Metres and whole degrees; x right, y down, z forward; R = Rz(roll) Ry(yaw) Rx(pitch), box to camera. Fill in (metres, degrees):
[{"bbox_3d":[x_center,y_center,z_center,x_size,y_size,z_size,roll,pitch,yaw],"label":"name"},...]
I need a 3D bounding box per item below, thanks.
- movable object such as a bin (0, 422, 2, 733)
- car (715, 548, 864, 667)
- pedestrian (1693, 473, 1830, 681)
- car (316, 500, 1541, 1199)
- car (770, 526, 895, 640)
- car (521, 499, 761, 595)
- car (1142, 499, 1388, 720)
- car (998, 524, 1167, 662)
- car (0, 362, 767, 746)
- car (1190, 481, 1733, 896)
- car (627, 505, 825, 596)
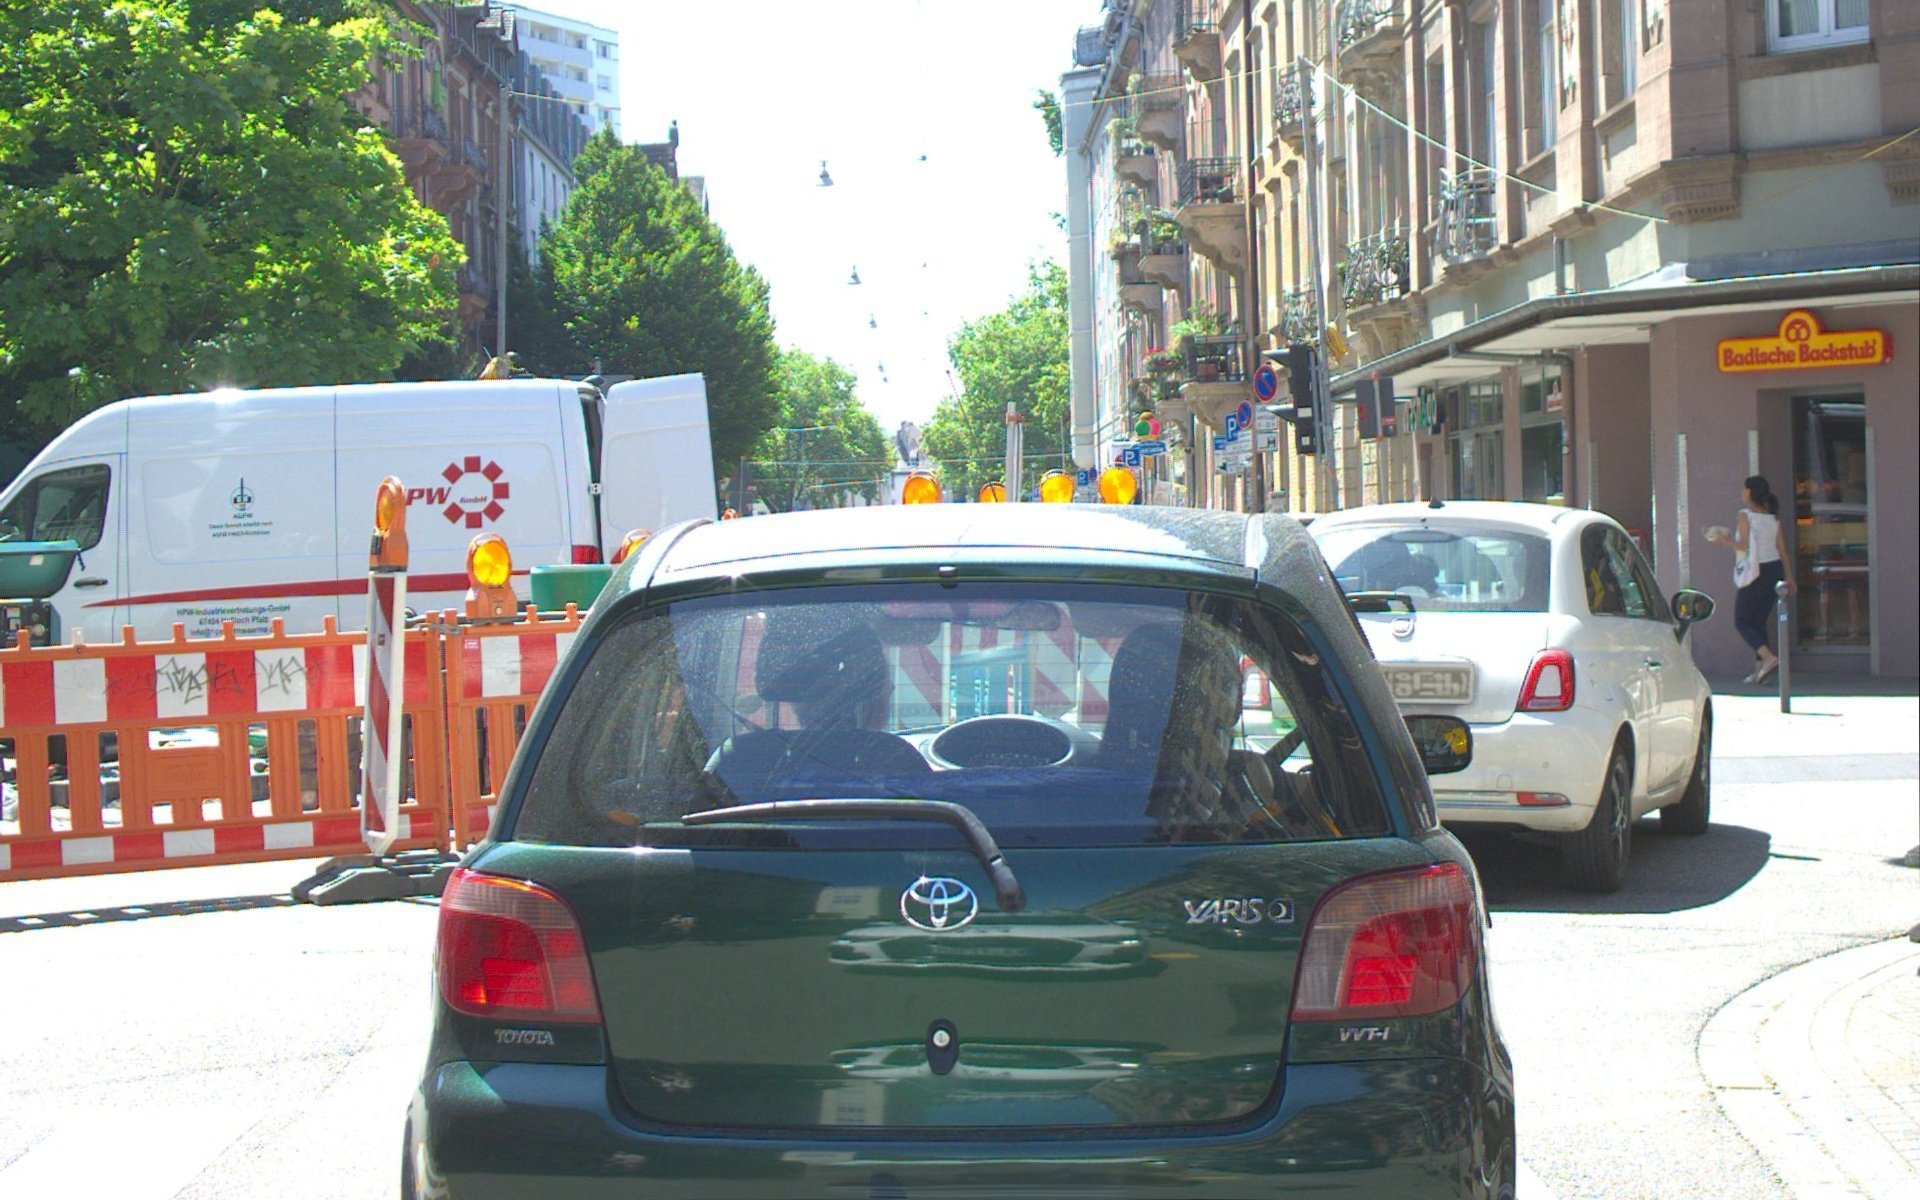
[{"bbox_3d":[-10.433,-0.182,28.352,4.543,2.650,1.955,0,1,-1],"label":"movable object such as a bin"},{"bbox_3d":[-2.228,0.065,45.776,1.754,1.439,4.000,-2,1,0],"label":"car"},{"bbox_3d":[6.359,-0.183,27.289,0.641,1.618,0.803,-2,1,-43],"label":"pedestrian"},{"bbox_3d":[0.037,0.585,6.177,1.614,1.480,3.241,-1,2,3],"label":"car"},{"bbox_3d":[-2.014,-0.301,55.457,1.754,1.639,4.378,-4,1,0],"label":"car"},{"bbox_3d":[-6.991,-1.164,75.414,4.773,1.987,2.054,-2,1,-29],"label":"car"},{"bbox_3d":[2.336,0.033,26.990,1.522,1.587,3.264,-2,1,-1],"label":"car"},{"bbox_3d":[1.439,-0.111,39.250,1.627,1.427,3.660,-3,1,6],"label":"car"},{"bbox_3d":[-4.841,-0.353,25.831,6.622,2.742,2.380,0,1,1],"label":"car"},{"bbox_3d":[2.190,0.284,14.335,1.524,1.516,3.260,-1,1,21],"label":"car"},{"bbox_3d":[-5.960,-1.266,87.638,4.557,2.180,2.000,-2,1,-27],"label":"car"}]
